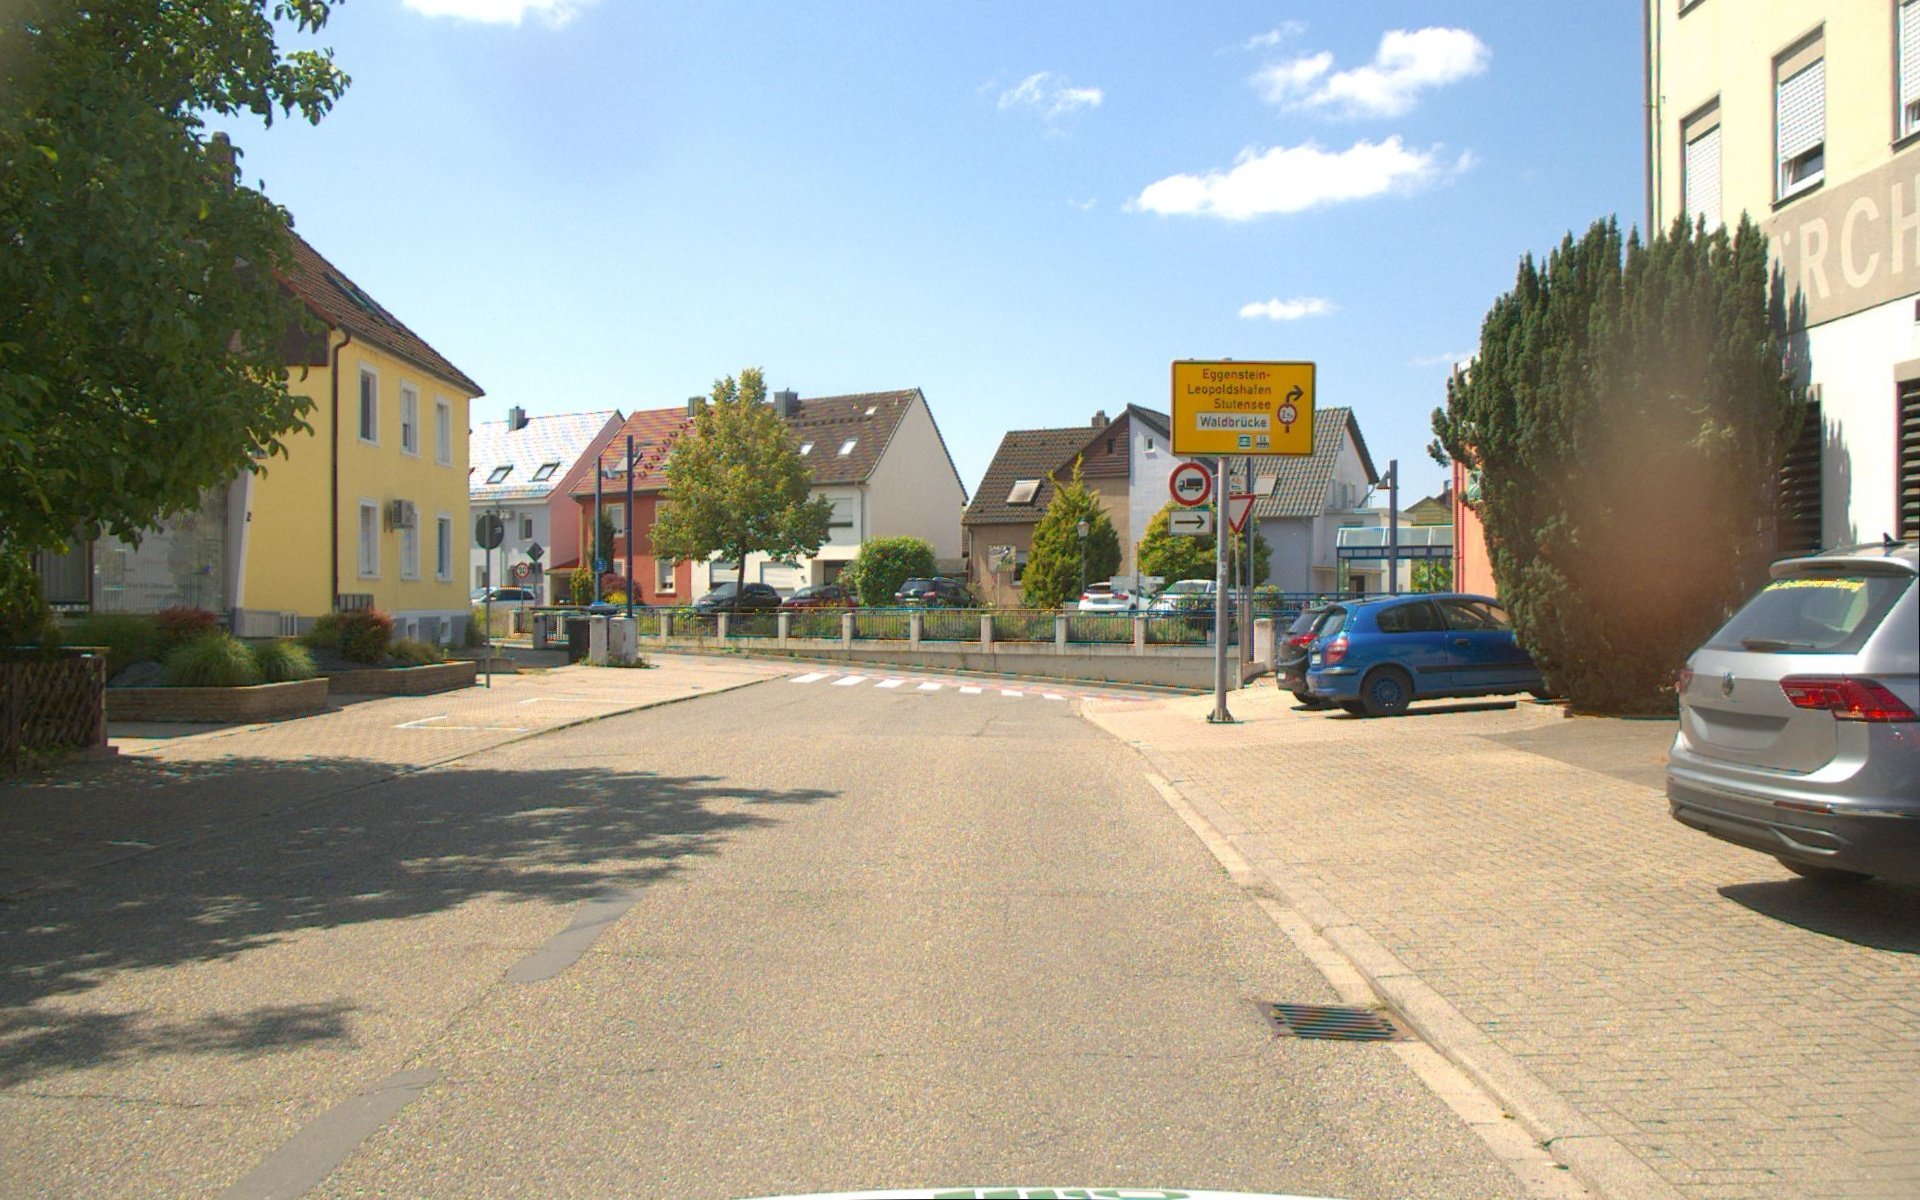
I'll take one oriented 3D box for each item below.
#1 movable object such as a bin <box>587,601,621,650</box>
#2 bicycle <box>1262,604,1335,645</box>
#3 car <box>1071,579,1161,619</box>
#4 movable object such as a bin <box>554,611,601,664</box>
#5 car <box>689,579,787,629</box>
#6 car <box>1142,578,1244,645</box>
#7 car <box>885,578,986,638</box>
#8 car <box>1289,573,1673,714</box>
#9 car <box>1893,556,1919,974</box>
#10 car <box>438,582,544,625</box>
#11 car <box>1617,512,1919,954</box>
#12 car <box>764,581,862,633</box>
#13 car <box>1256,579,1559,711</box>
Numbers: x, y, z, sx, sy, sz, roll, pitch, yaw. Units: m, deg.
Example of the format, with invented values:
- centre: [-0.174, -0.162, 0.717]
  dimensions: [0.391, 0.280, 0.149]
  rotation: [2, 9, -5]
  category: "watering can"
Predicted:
- centre: [-9.308, 0.655, 43.246]
  dimensions: [0.825, 1.235, 1.272]
  rotation: [1, -1, -12]
  category: "movable object such as a bin"
- centre: [9.930, 0.712, 48.555]
  dimensions: [2.071, 1.145, 0.333]
  rotation: [1, 0, 20]
  category: "bicycle"
- centre: [5.154, -0.021, 54.215]
  dimensions: [1.790, 1.037, 3.455]
  rotation: [4, -1, 26]
  category: "car"
- centre: [-9.221, 0.891, 39.877]
  dimensions: [0.867, 1.247, 0.902]
  rotation: [1, -1, 2]
  category: "movable object such as a bin"
- centre: [-8.259, 0.168, 61.811]
  dimensions: [1.831, 1.614, 3.606]
  rotation: [4, -1, 26]
  category: "car"
- centre: [7.546, 0.399, 53.233]
  dimensions: [1.955, 1.828, 4.192]
  rotation: [4, -1, 26]
  category: "car"
- centre: [-0.817, 0.305, 57.928]
  dimensions: [1.831, 1.828, 3.995]
  rotation: [4, -1, 26]
  category: "car"
- centre: [6.500, 0.564, 20.961]
  dimensions: [4.235, 1.465, 1.779]
  rotation: [-3, -3, -1]
  category: "car"
- centre: [5.751, 0.548, 5.279]
  dimensions: [4.409, 1.546, 2.000]
  rotation: [-2, 0, -1]
  category: "car"
- centre: [-20.072, 0.154, 70.921]
  dimensions: [1.711, 1.514, 4.244]
  rotation: [4, -1, 33]
  category: "car"
- centre: [5.580, 0.466, 7.552]
  dimensions: [4.363, 1.727, 1.922]
  rotation: [-2, 0, -2]
  category: "car"
- centre: [-5.303, 0.267, 59.906]
  dimensions: [1.831, 1.614, 3.606]
  rotation: [4, -1, 26]
  category: "car"
- centre: [6.476, 0.661, 24.224]
  dimensions: [3.818, 1.516, 1.809]
  rotation: [-5, -2, -2]
  category: "car"
